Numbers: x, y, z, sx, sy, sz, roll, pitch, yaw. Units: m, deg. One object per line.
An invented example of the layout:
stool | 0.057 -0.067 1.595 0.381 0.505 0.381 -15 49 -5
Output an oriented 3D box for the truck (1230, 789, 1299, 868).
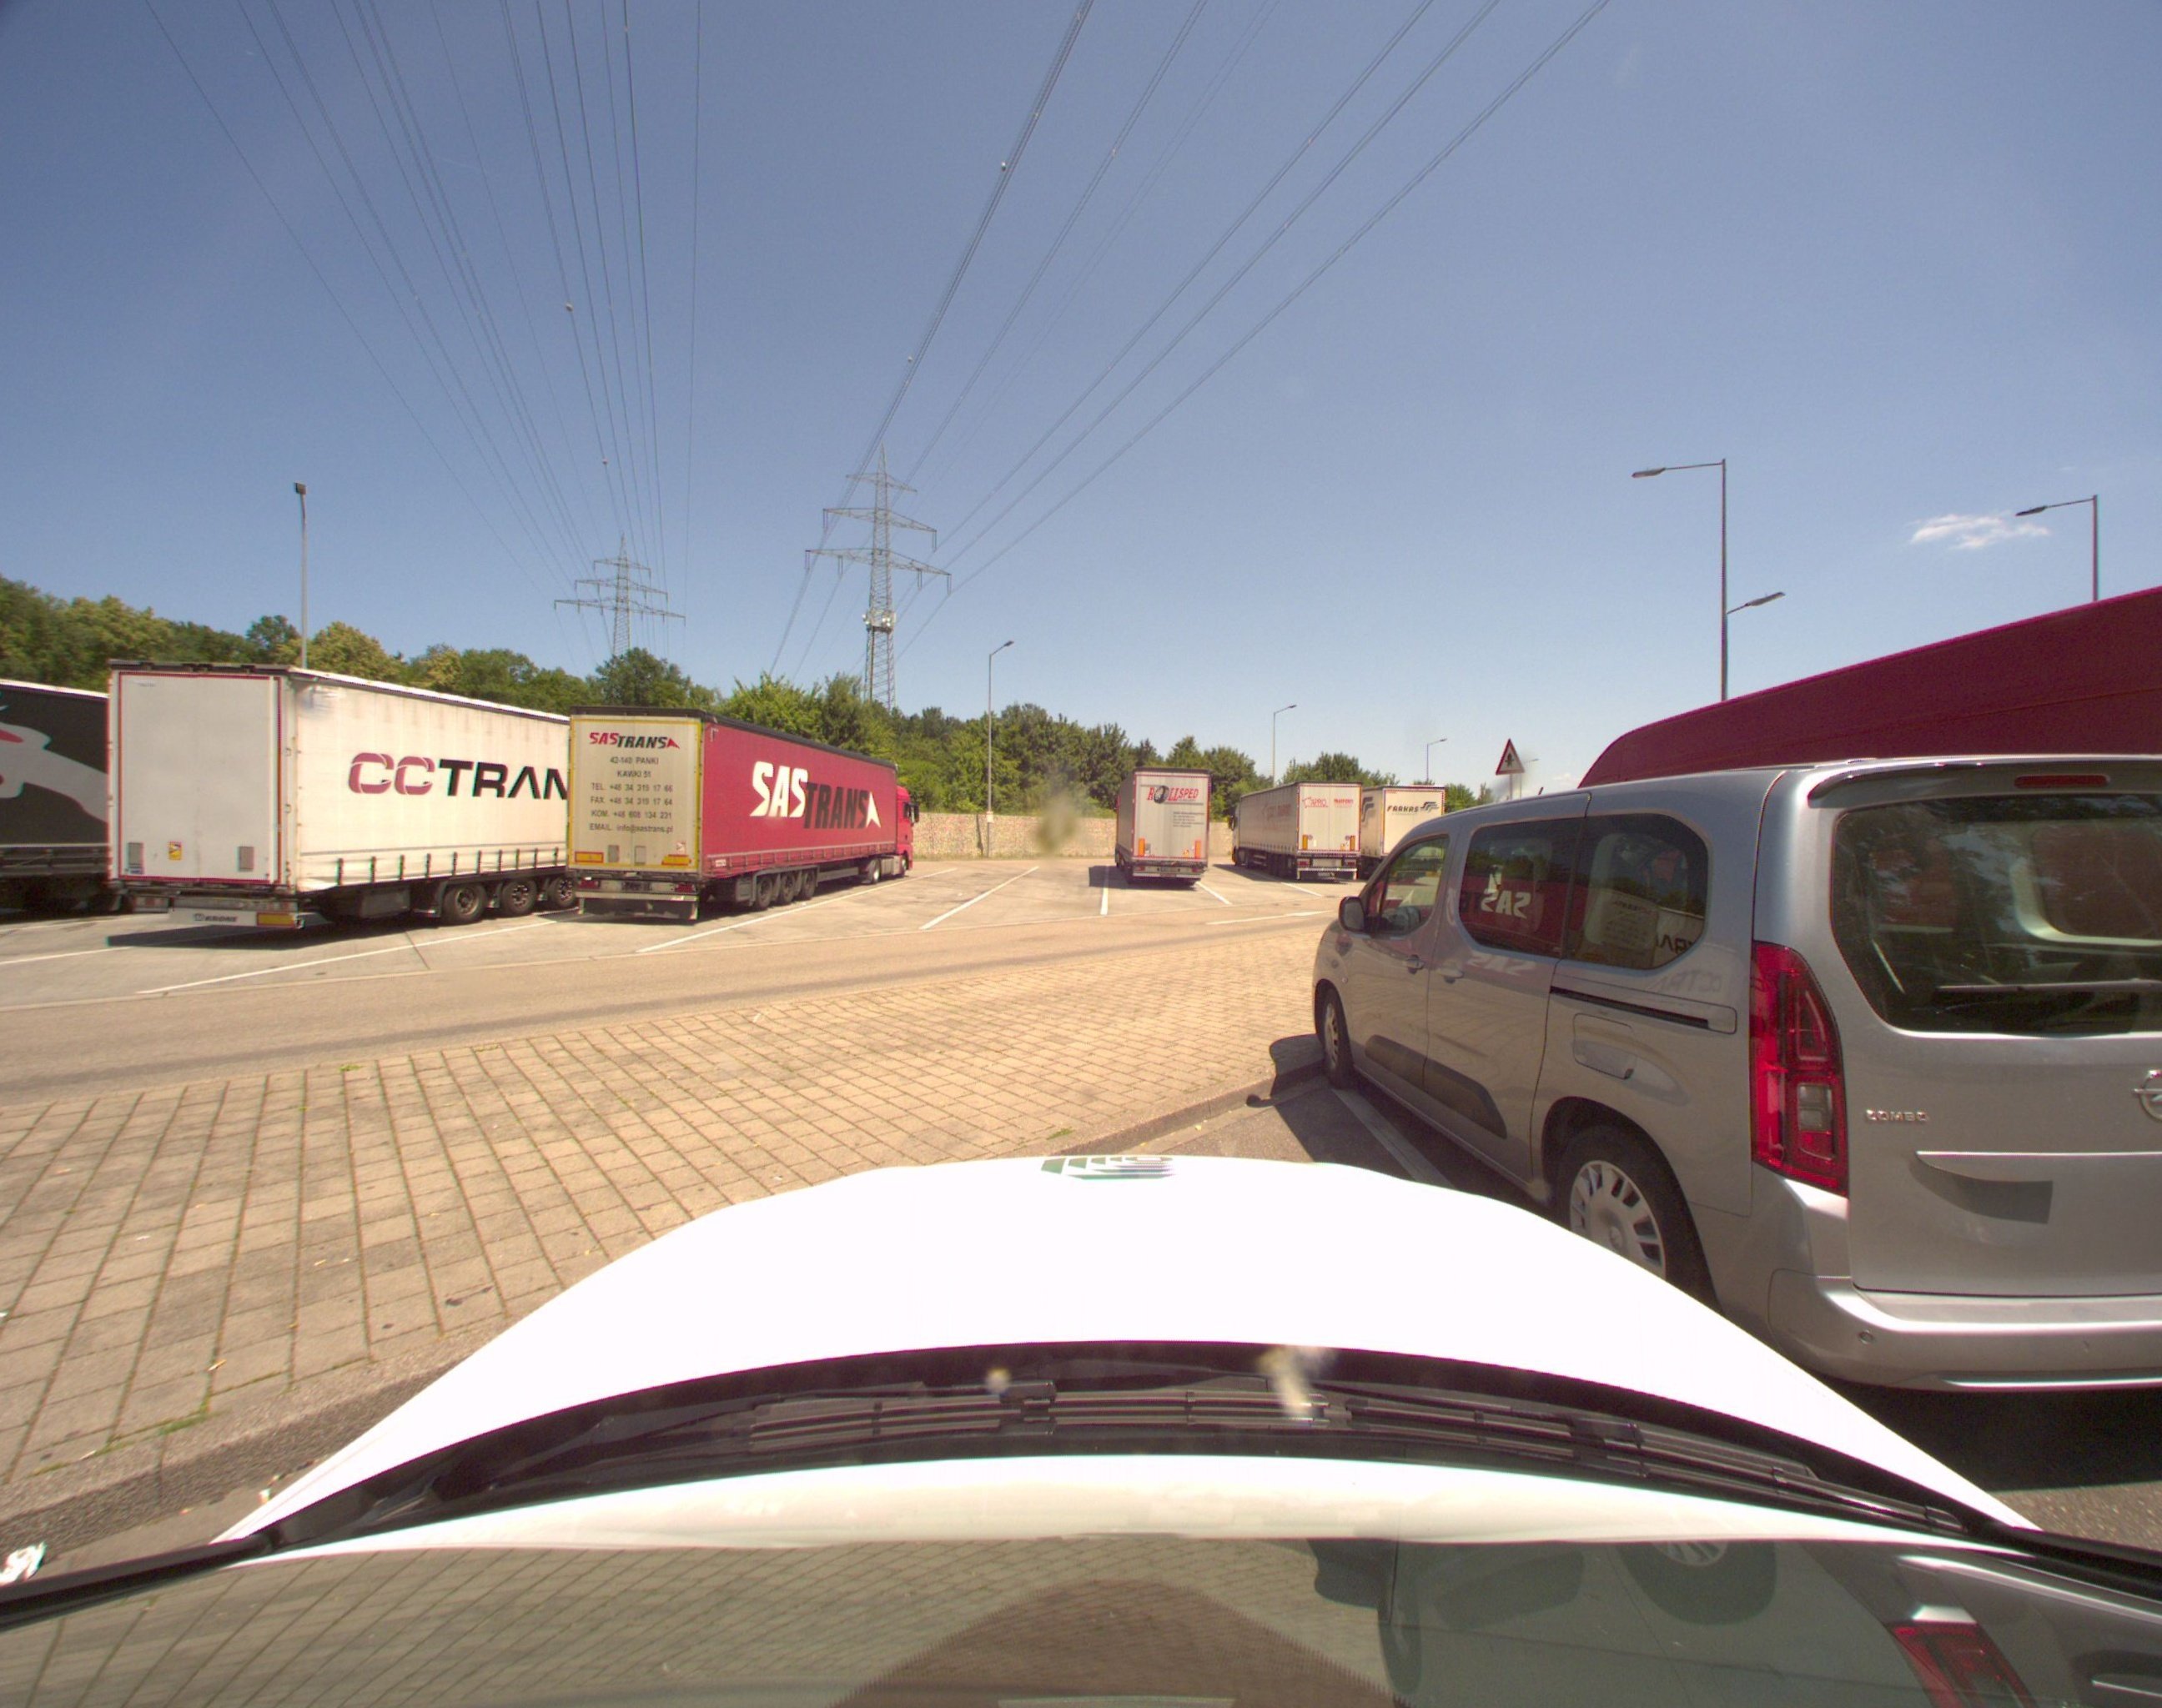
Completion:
truck | 10.126 -1.391 45.414 2.747 4.124 5.286 -1 1 2

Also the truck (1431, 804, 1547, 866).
truck | 24.460 -1.124 49.438 3.013 3.437 8.534 -1 1 2

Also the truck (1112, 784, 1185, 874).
truck | 3.126 -1.219 39.513 3.016 3.928 6.848 1 2 1

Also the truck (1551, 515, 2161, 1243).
truck | 5.098 0.051 4.874 1.983 2.623 5.312 -1 1 6

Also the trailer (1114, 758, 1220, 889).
trailer | 3.043 -1.186 32.740 3.059 4.227 12.811 1 2 1

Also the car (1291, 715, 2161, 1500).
car | 2.468 0.530 3.853 1.821 1.753 3.998 -1 1 -2

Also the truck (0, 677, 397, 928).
truck | -18.513 -0.857 15.967 2.627 4.018 8.640 -1 1 2

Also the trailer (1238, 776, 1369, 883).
trailer | 9.938 -1.064 38.412 2.865 4.124 13.577 0 1 2

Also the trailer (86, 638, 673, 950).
trailer | -12.101 -0.896 16.074 2.734 4.263 9.740 0 1 3

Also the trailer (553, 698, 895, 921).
trailer | -8.048 -0.918 21.533 2.739 4.057 13.292 -1 1 2

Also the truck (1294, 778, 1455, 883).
truck | 13.573 -1.054 39.656 2.894 4.124 14.533 2 1 2

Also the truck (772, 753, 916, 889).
truck | -7.841 -1.050 28.017 2.733 4.081 6.832 -1 1 1
